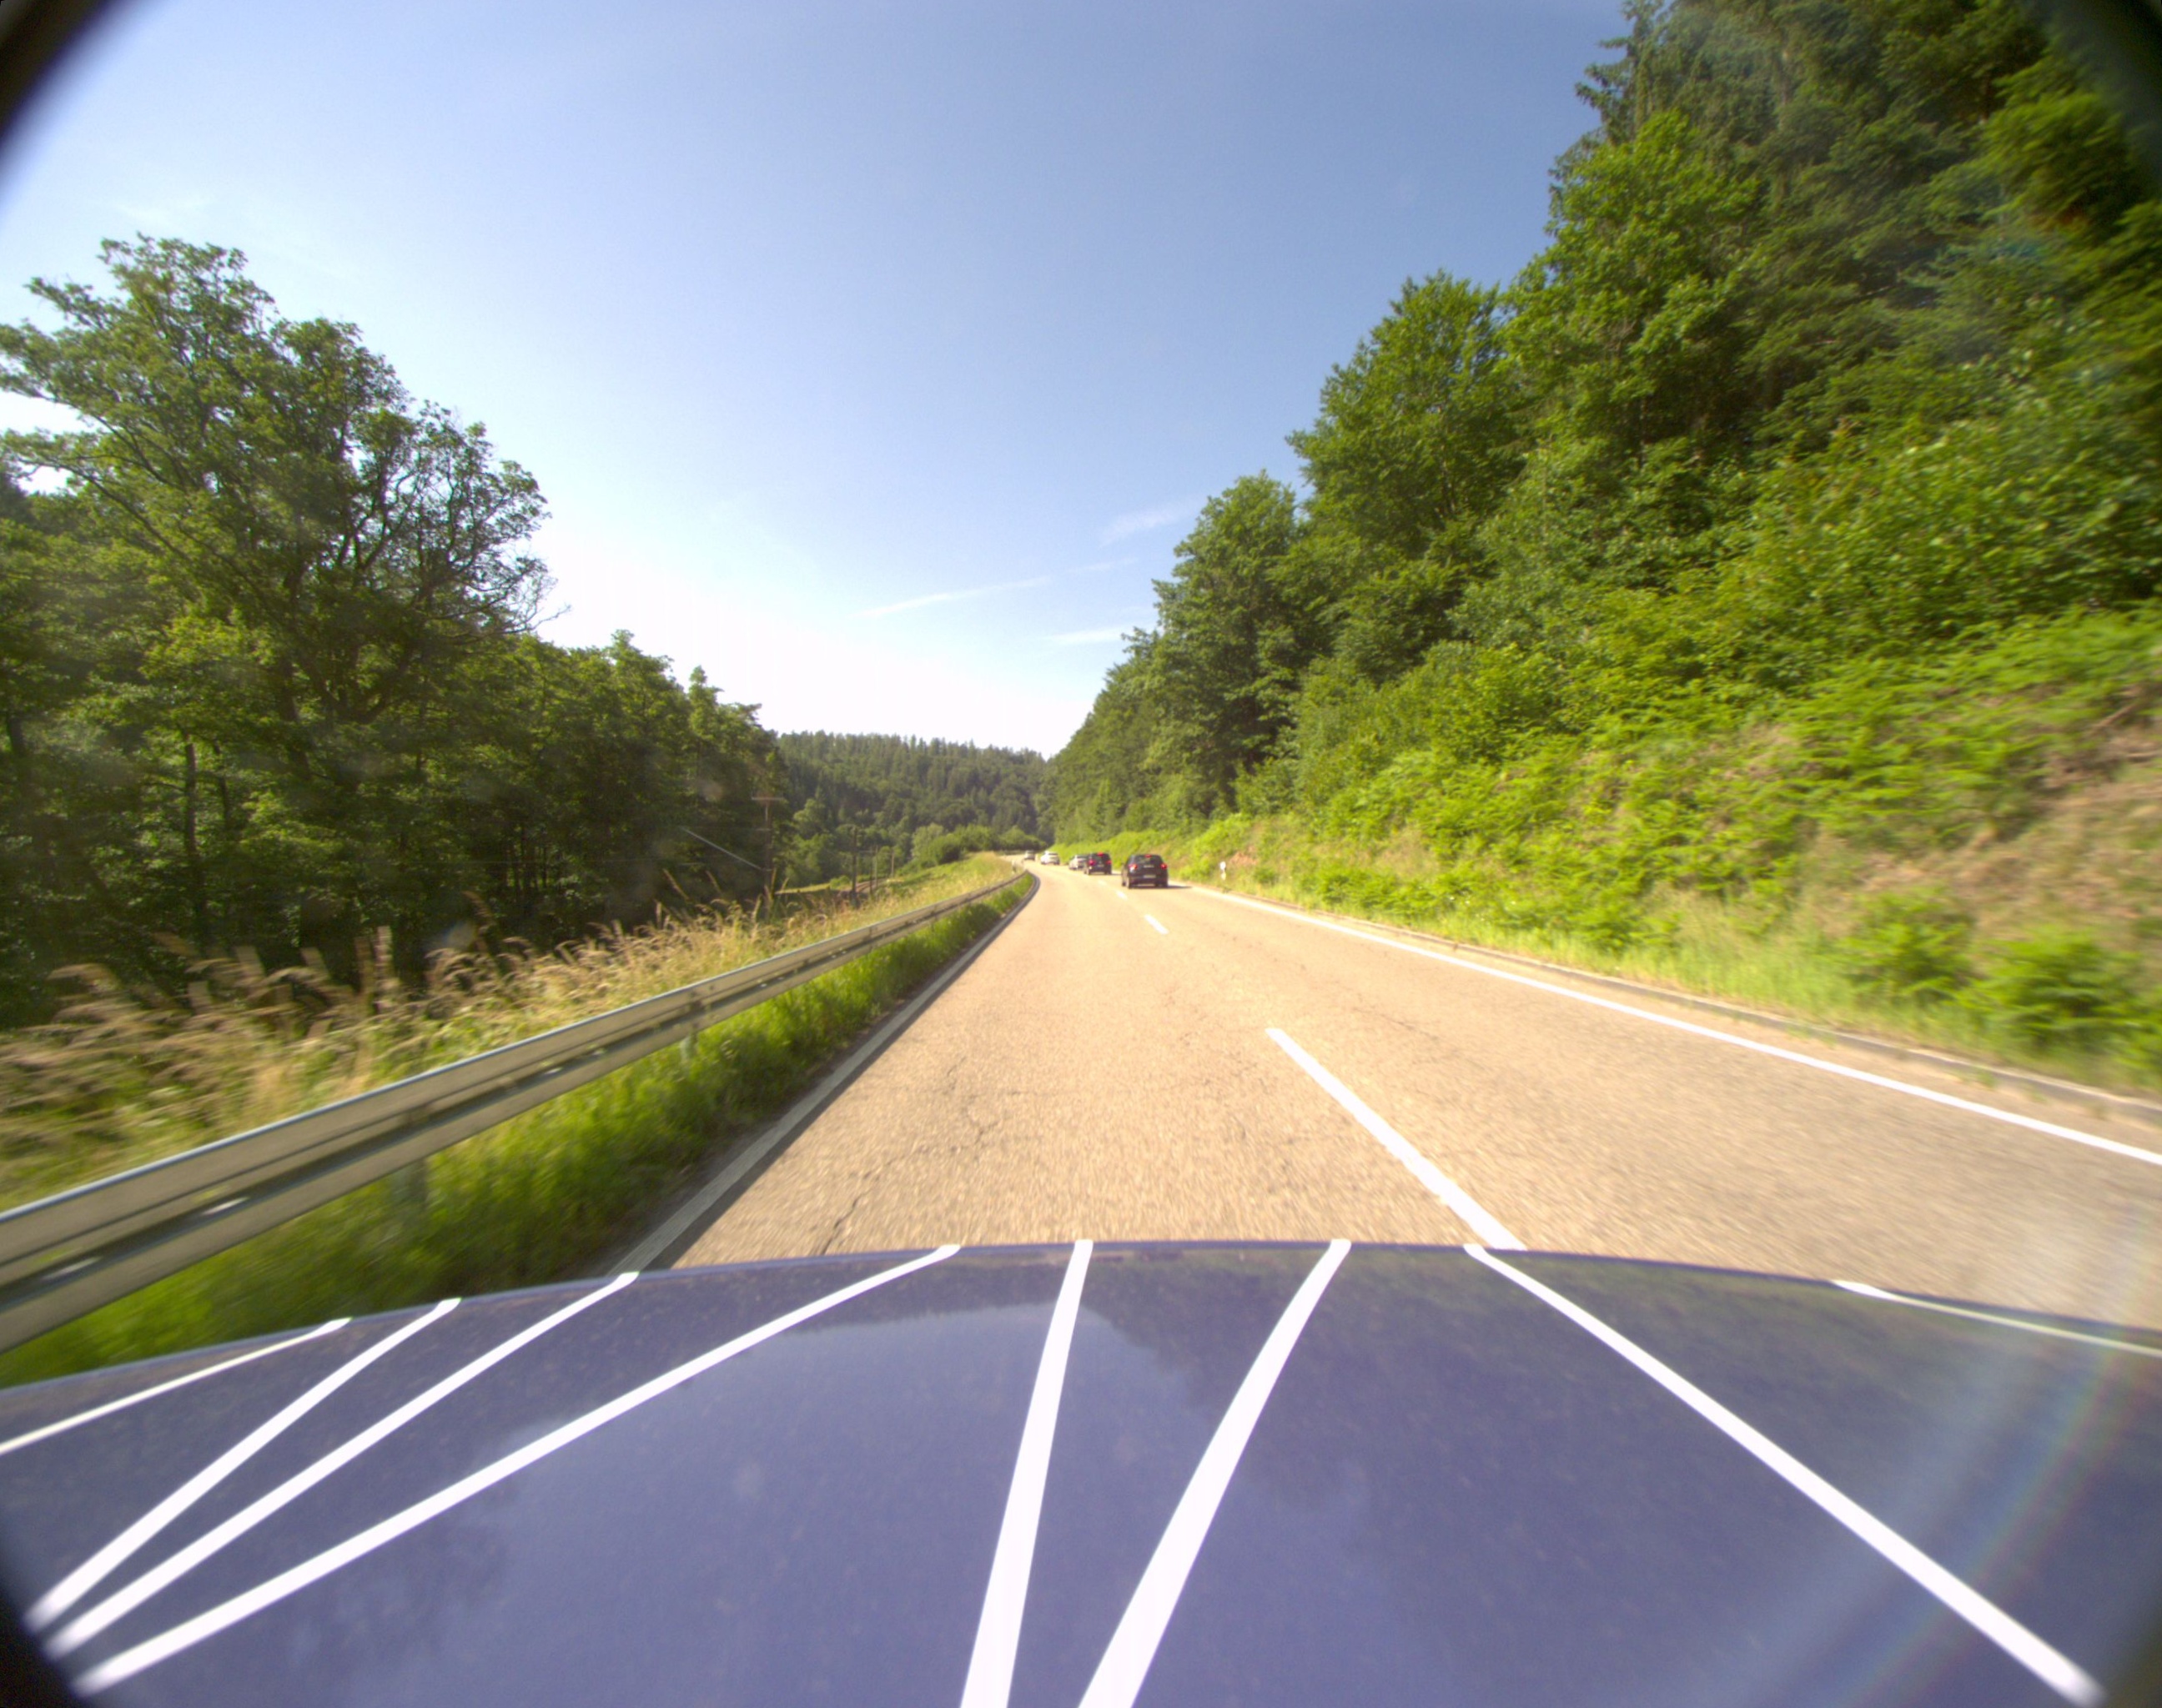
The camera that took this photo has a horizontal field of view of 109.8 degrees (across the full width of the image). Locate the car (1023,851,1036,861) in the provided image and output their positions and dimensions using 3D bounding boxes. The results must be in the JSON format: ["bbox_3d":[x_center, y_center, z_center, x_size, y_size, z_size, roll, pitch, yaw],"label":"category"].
[{"bbox_3d":[-8.678,0.327,127.245,1.874,1.614,4.470,0,0,-7],"label":"car"}]

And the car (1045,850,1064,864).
[{"bbox_3d":[-3.357,0.405,95.249,2.000,1.673,4.902,0,0,-6],"label":"car"}]

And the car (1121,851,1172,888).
[{"bbox_3d":[2.871,0.648,34.114,1.862,1.520,3.999,0,1,-1],"label":"car"}]

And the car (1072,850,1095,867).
[{"bbox_3d":[0.173,0.398,69.410,1.838,1.422,4.676,-1,0,-4],"label":"car"}]

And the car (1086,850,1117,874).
[{"bbox_3d":[1.456,0.564,55.841,1.838,1.619,4.350,-2,0,-3],"label":"car"}]
